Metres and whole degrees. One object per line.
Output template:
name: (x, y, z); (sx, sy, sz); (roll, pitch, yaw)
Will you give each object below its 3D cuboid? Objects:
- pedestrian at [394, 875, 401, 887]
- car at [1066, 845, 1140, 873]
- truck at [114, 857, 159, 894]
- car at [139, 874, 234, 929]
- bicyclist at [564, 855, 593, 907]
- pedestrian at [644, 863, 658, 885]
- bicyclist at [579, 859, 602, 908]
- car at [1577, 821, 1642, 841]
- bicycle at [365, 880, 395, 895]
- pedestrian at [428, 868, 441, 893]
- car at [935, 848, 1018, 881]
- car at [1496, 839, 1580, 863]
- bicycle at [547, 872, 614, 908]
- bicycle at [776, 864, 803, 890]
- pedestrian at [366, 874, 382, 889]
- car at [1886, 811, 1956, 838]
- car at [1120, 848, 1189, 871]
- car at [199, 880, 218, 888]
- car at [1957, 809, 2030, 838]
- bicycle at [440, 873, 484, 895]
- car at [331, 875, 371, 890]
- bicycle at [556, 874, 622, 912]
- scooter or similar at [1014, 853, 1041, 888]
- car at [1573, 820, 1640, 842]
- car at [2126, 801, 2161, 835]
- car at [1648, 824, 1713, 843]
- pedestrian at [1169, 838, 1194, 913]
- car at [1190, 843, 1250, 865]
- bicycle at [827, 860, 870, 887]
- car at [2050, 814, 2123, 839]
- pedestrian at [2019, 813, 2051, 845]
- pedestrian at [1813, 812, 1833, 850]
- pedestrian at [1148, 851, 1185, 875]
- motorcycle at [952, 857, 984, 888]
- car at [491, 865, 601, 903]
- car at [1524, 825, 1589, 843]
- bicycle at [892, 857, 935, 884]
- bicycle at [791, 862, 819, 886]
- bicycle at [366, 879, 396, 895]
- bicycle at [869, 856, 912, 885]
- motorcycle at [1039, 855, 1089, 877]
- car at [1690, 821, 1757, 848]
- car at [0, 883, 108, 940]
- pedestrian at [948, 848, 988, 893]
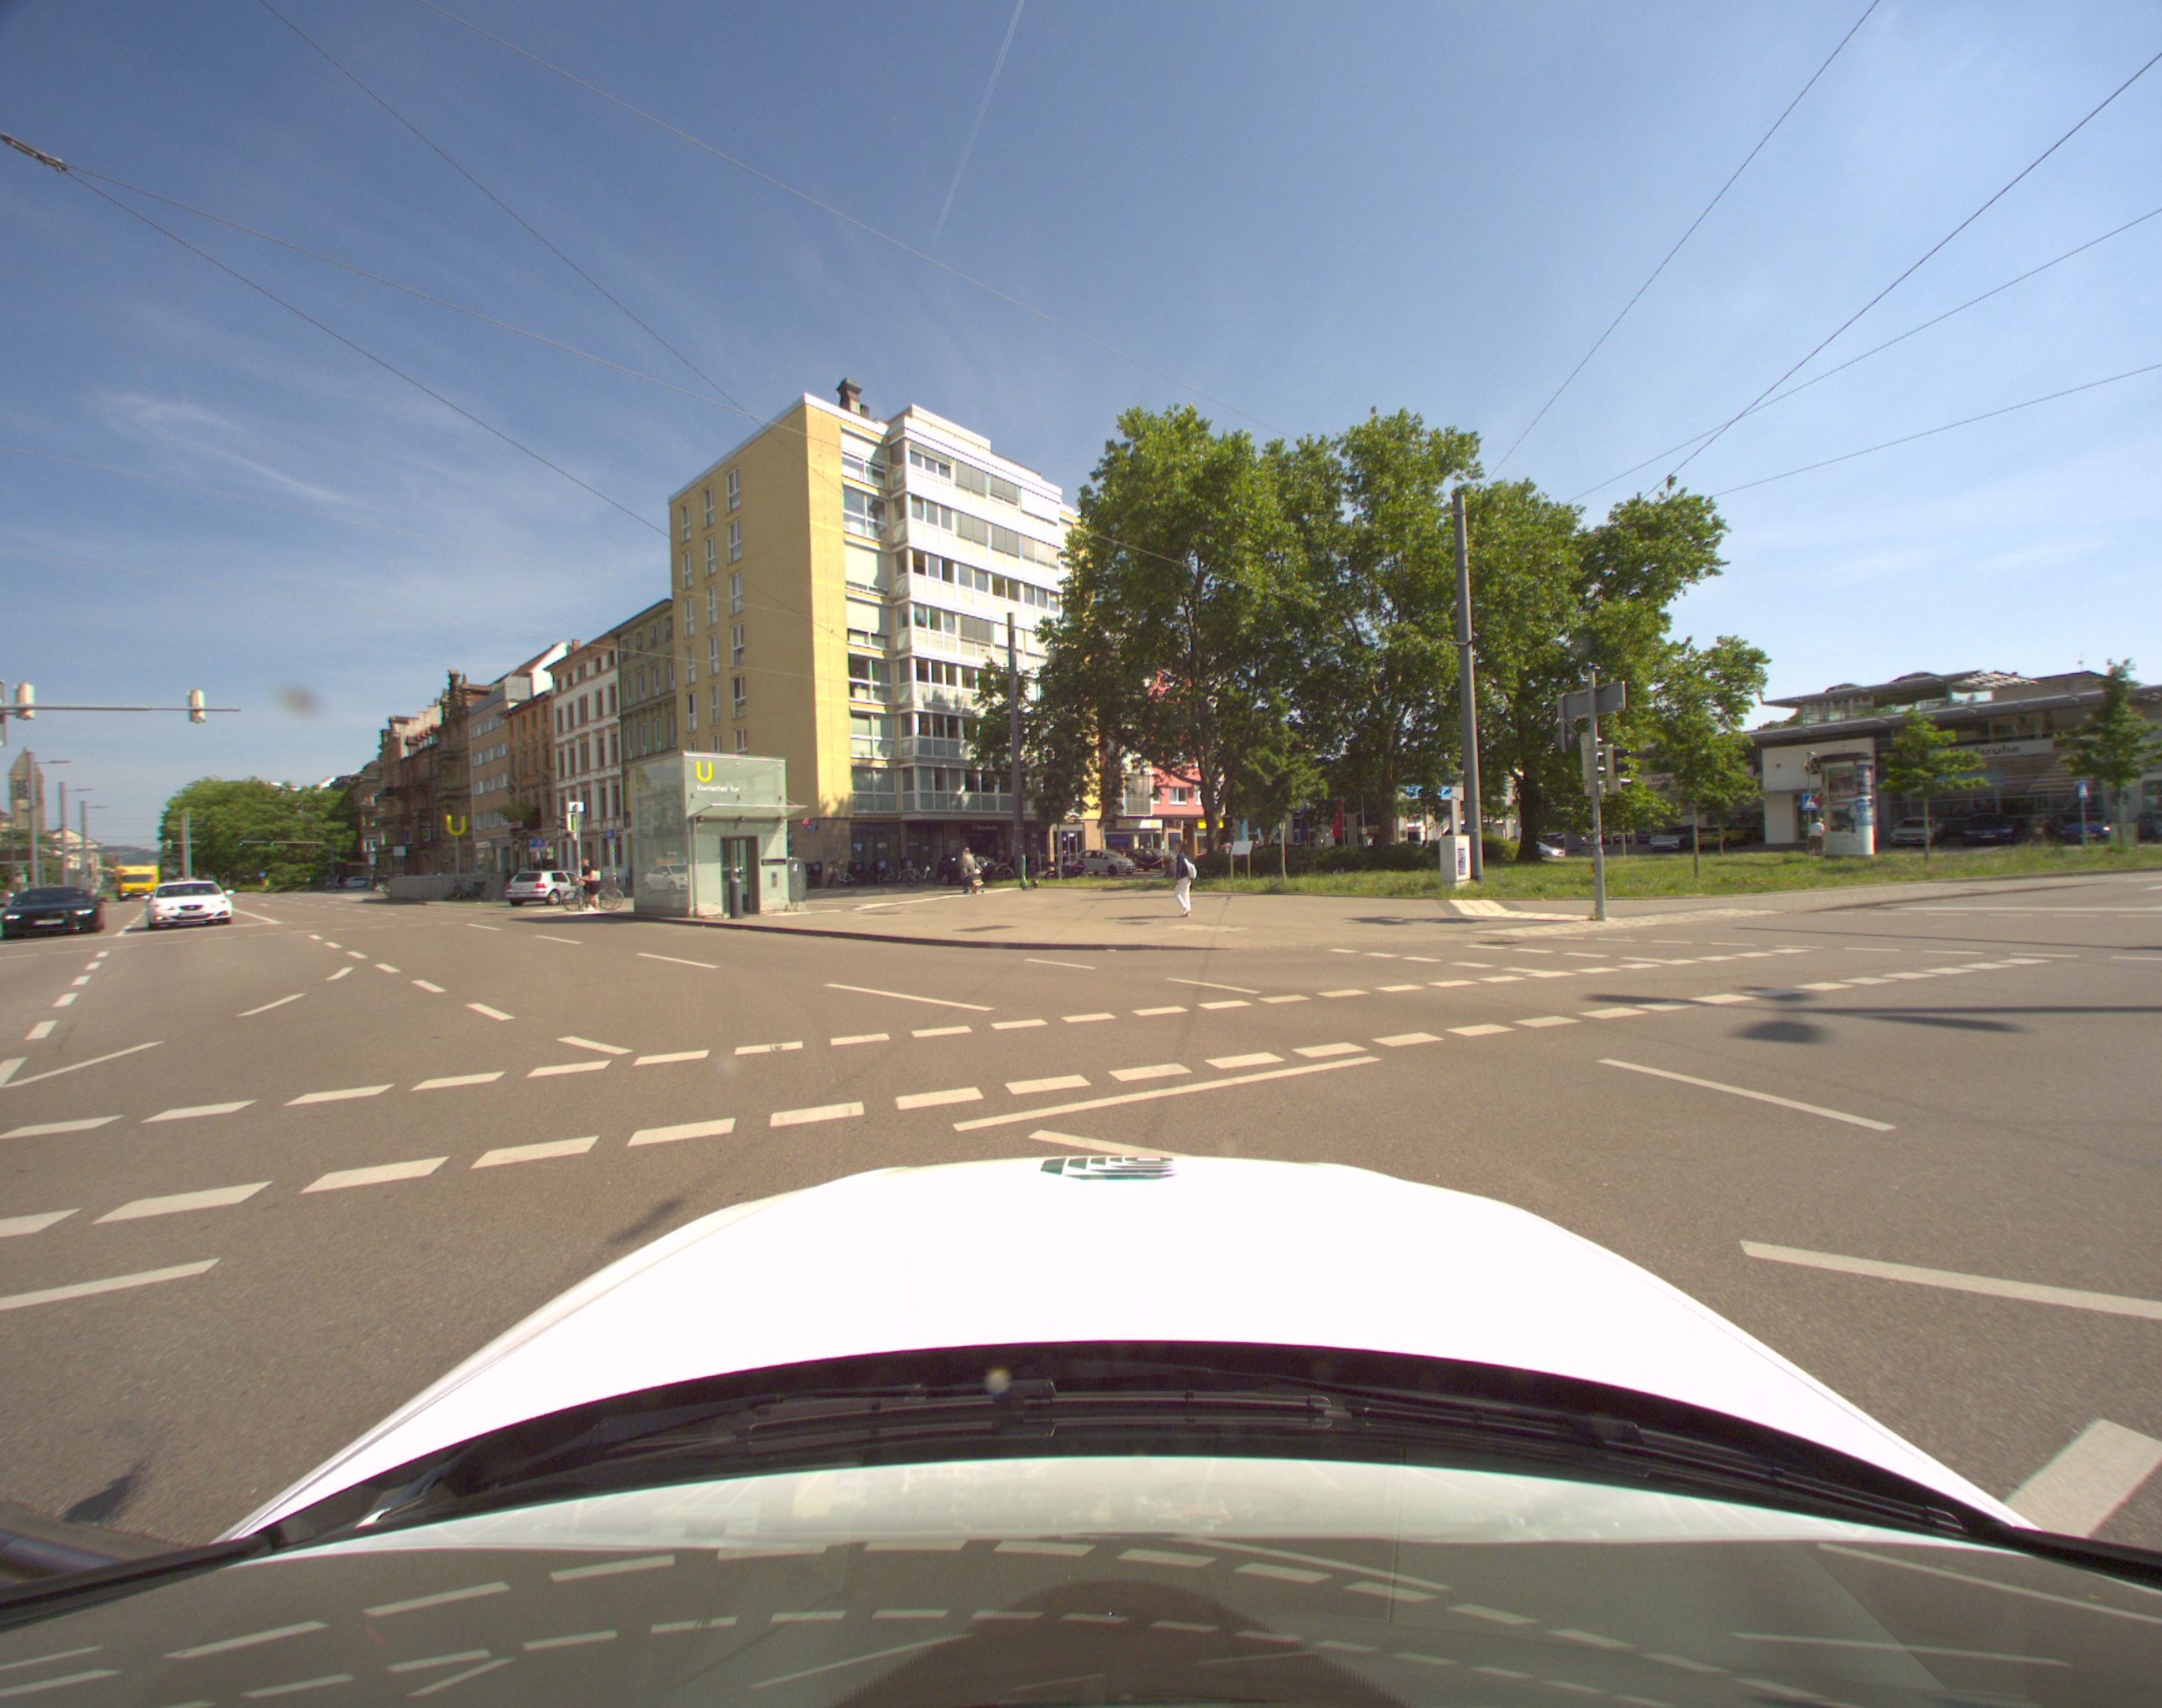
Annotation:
pedestrian: (-77.178, 3.042, 91.962); (0.485, 1.406, 0.538); (1, 2, 35)
car: (1.244, 0.257, 46.552); (3.950, 1.439, 1.903); (1, 3, 42)
truck: (-92.069, 2.117, 79.413); (8.912, 3.297, 2.568); (-2, 3, 41)
car: (-28.084, 1.420, 25.565); (4.072, 1.397, 1.771); (-1, 4, 41)
bicyclist: (-16.995, 0.912, 27.538); (0.576, 1.735, 0.621); (-2, -1, 35)
pedestrian: (-26.513, 1.240, 50.248); (0.638, 1.374, 0.530); (-2, 0, 41)
bicyclist: (-15.983, 0.955, 26.552); (0.615, 1.572, 0.726); (-2, -1, -31)
car: (42.936, -1.851, 66.261); (2.007, 1.508, 3.959); (-3, 1, -33)
bicycle: (-47.930, 2.289, 55.663); (0.410, 0.947, 1.475); (-4, -1, 41)
pedestrian: (-43.732, 1.814, 55.085); (0.518, 1.665, 0.558); (-2, 0, 42)
car: (-5.005, 0.519, 38.640); (4.041, 1.471, 1.669); (-1, -2, 42)
car: (30.311, -0.253, 54.168); (1.977, 1.436, 4.560); (-1, 2, -27)
bicycle: (-17.010, 1.215, 27.713); (0.576, 1.130, 1.808); (-2, -1, 35)
bicycle: (-13.386, 1.042, 37.372); (0.587, 1.085, 1.737); (-6, 3, -36)
pedestrian: (-65.888, 2.556, 75.924); (0.812, 1.325, 0.956); (-2, 0, 39)
car: (46.949, -1.660, 45.502); (4.015, 1.485, 1.980); (-2, 2, -33)
car: (4.475, 0.324, 49.771); (3.950, 1.270, 1.754); (1, 3, 42)
car: (-153.971, 5.272, 143.691); (3.766, 1.376, 1.917); (-2, 1, 39)
car: (48.335, -1.640, 43.107); (4.015, 1.485, 1.980); (-2, 2, -33)
bicycle: (-32.676, 1.571, 42.990); (0.590, 1.094, 1.759); (-1, 1, 41)
car: (-101.541, 3.894, 113.286); (1.975, 1.749, 4.024); (1, 3, 43)
bicycle: (-16.029, 1.257, 26.568); (1.803, 1.130, 0.747); (-2, -1, -31)
scooter or similar: (-1.800, 0.545, 27.297); (0.517, 1.119, 1.354); (-2, 1, -21)
car: (41.212, -1.760, 63.913); (2.007, 1.552, 3.959); (-3, 1, -33)
car: (52.324, -1.721, 38.950); (1.802, 1.617, 4.026); (1, 2, 36)
car: (41.237, -1.407, 56.031); (4.008, 1.244, 1.983); (-2, 2, -27)
pedestrian: (2.178, 0.452, 17.629); (0.449, 1.604, 0.402); (0, 2, 23)
car: (9.540, -0.020, 56.042); (3.688, 1.340, 1.754); (1, 3, 42)
bicycle: (-10.887, 0.897, 38.239); (0.534, 1.186, 1.901); (-1, 1, 44)
car: (49.621, -1.371, 40.183); (4.015, 1.195, 1.818); (-2, 3, -33)
pedestrian: (46.576, -1.220, 39.764); (0.536, 1.579, 0.946); (-2, 2, -34)
pedestrian: (31.721, -0.974, 34.824); (0.462, 1.595, 0.392); (-1, 2, -8)
pedestrian: (3.375, 0.358, 32.056); (1.161, 0.892, 0.828); (-2, 1, 40)
motorcycle: (-4.194, 0.662, 30.074); (0.641, 1.062, 2.022); (-2, 1, -23)
car: (-22.302, 1.235, 34.166); (1.800, 1.440, 4.002); (-1, -1, 3)
car: (37.456, -1.577, 64.270); (2.007, 1.371, 3.961); (-2, 2, -32)
bicycle: (-7.571, 0.746, 36.821); (1.765, 1.085, 0.577); (-4, 1, -38)
bicycle: (-12.758, 0.939, 37.619); (0.587, 1.043, 1.736); (-3, 1, -41)
bicycle: (-47.604, 2.266, 55.366); (0.410, 0.976, 1.475); (1, 2, 41)
bicycle: (-8.738, 0.728, 37.400); (1.765, 1.219, 0.577); (-4, 1, -38)
motorcycle: (-0.692, 0.491, 33.765); (2.023, 0.842, 0.641); (-2, 1, 2)
car: (42.768, -1.332, 54.225); (4.008, 1.683, 1.983); (-1, 2, -27)
car: (-31.404, 1.680, 24.993); (4.366, 1.456, 1.771); (-1, 2, 42)
pedestrian: (-3.732, 0.541, 26.909); (1.103, 1.403, 0.661); (1, 5, 37)
